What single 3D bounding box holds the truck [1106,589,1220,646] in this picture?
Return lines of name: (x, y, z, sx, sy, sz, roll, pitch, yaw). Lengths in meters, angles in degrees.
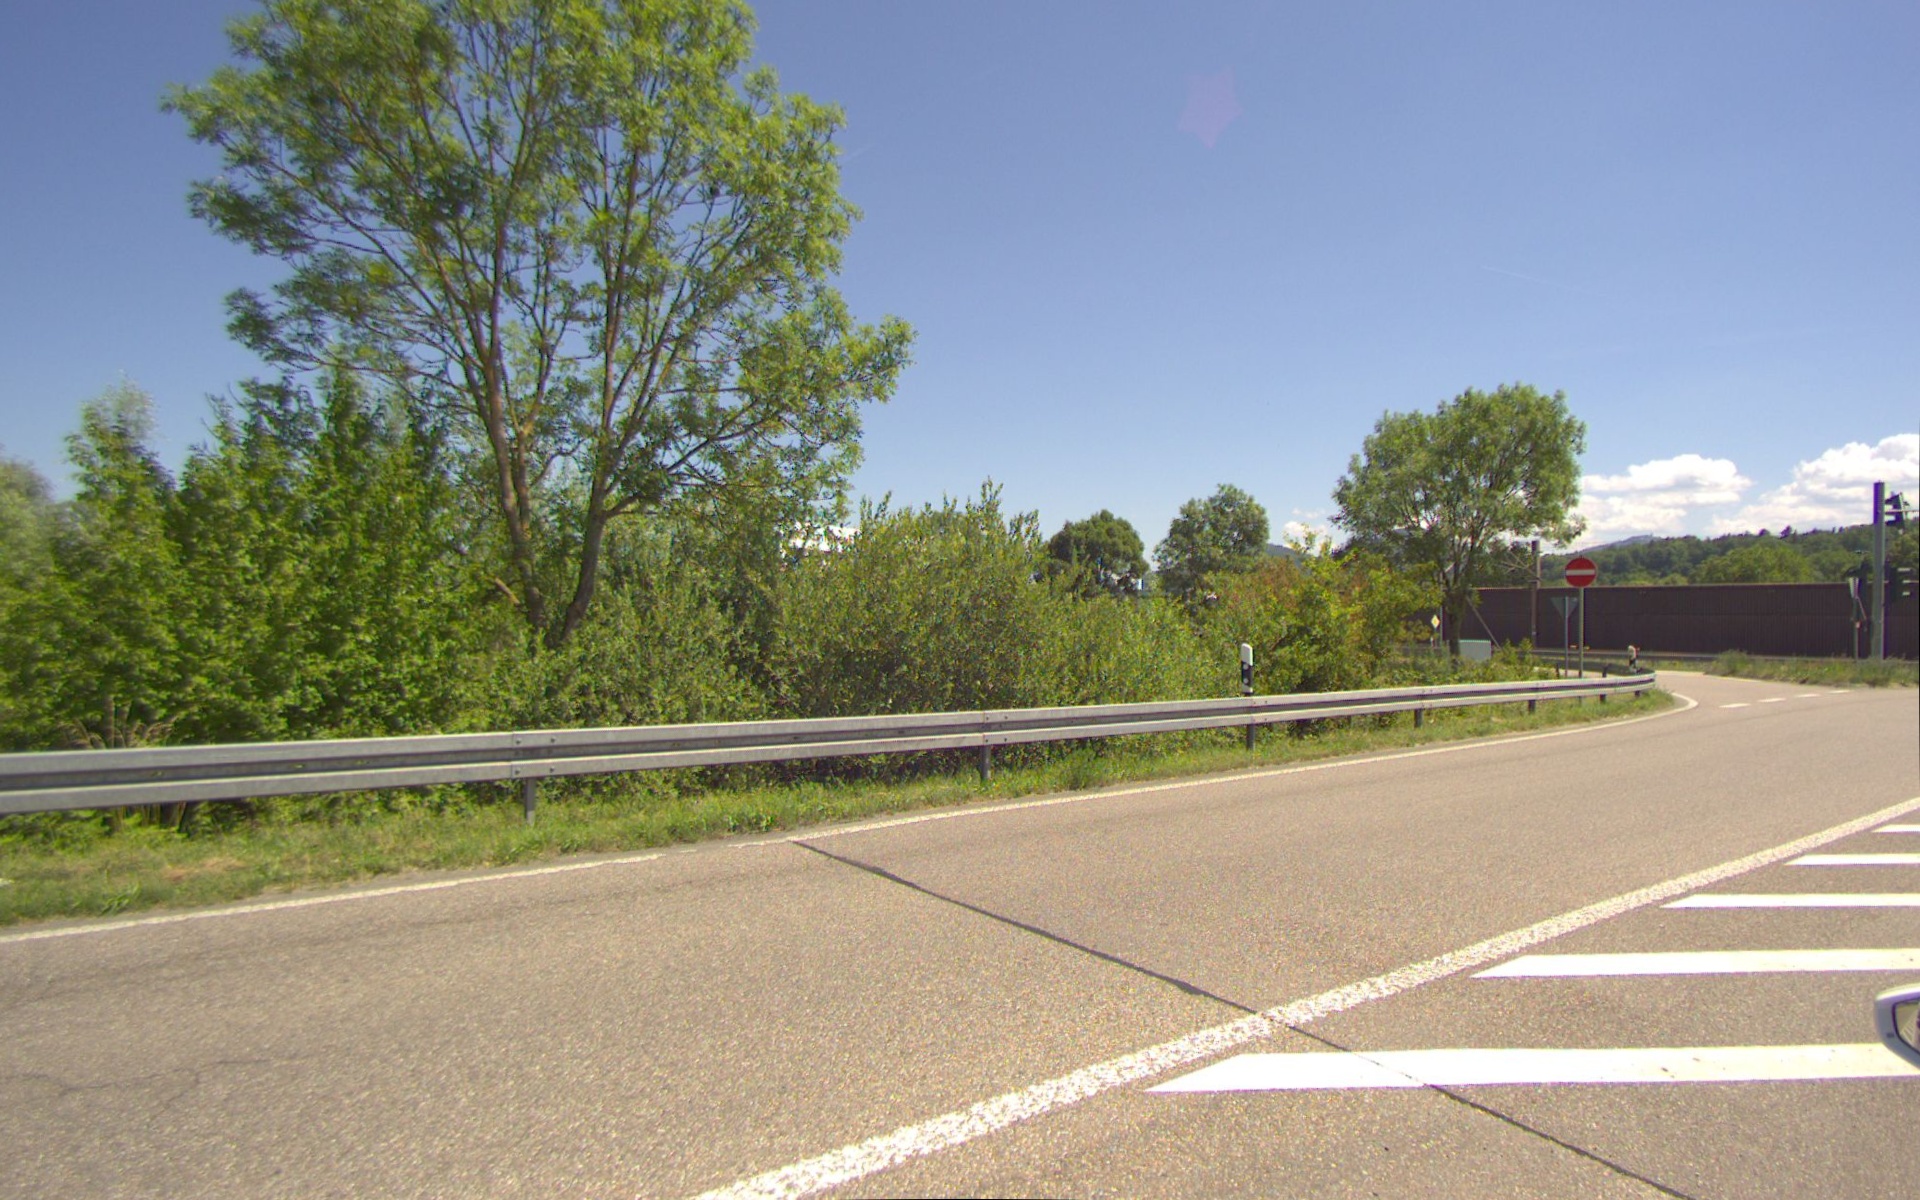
truck: (13.285, 1.097, 66.704, 2.100, 3.516, 9.029, 1, -1, -28)
